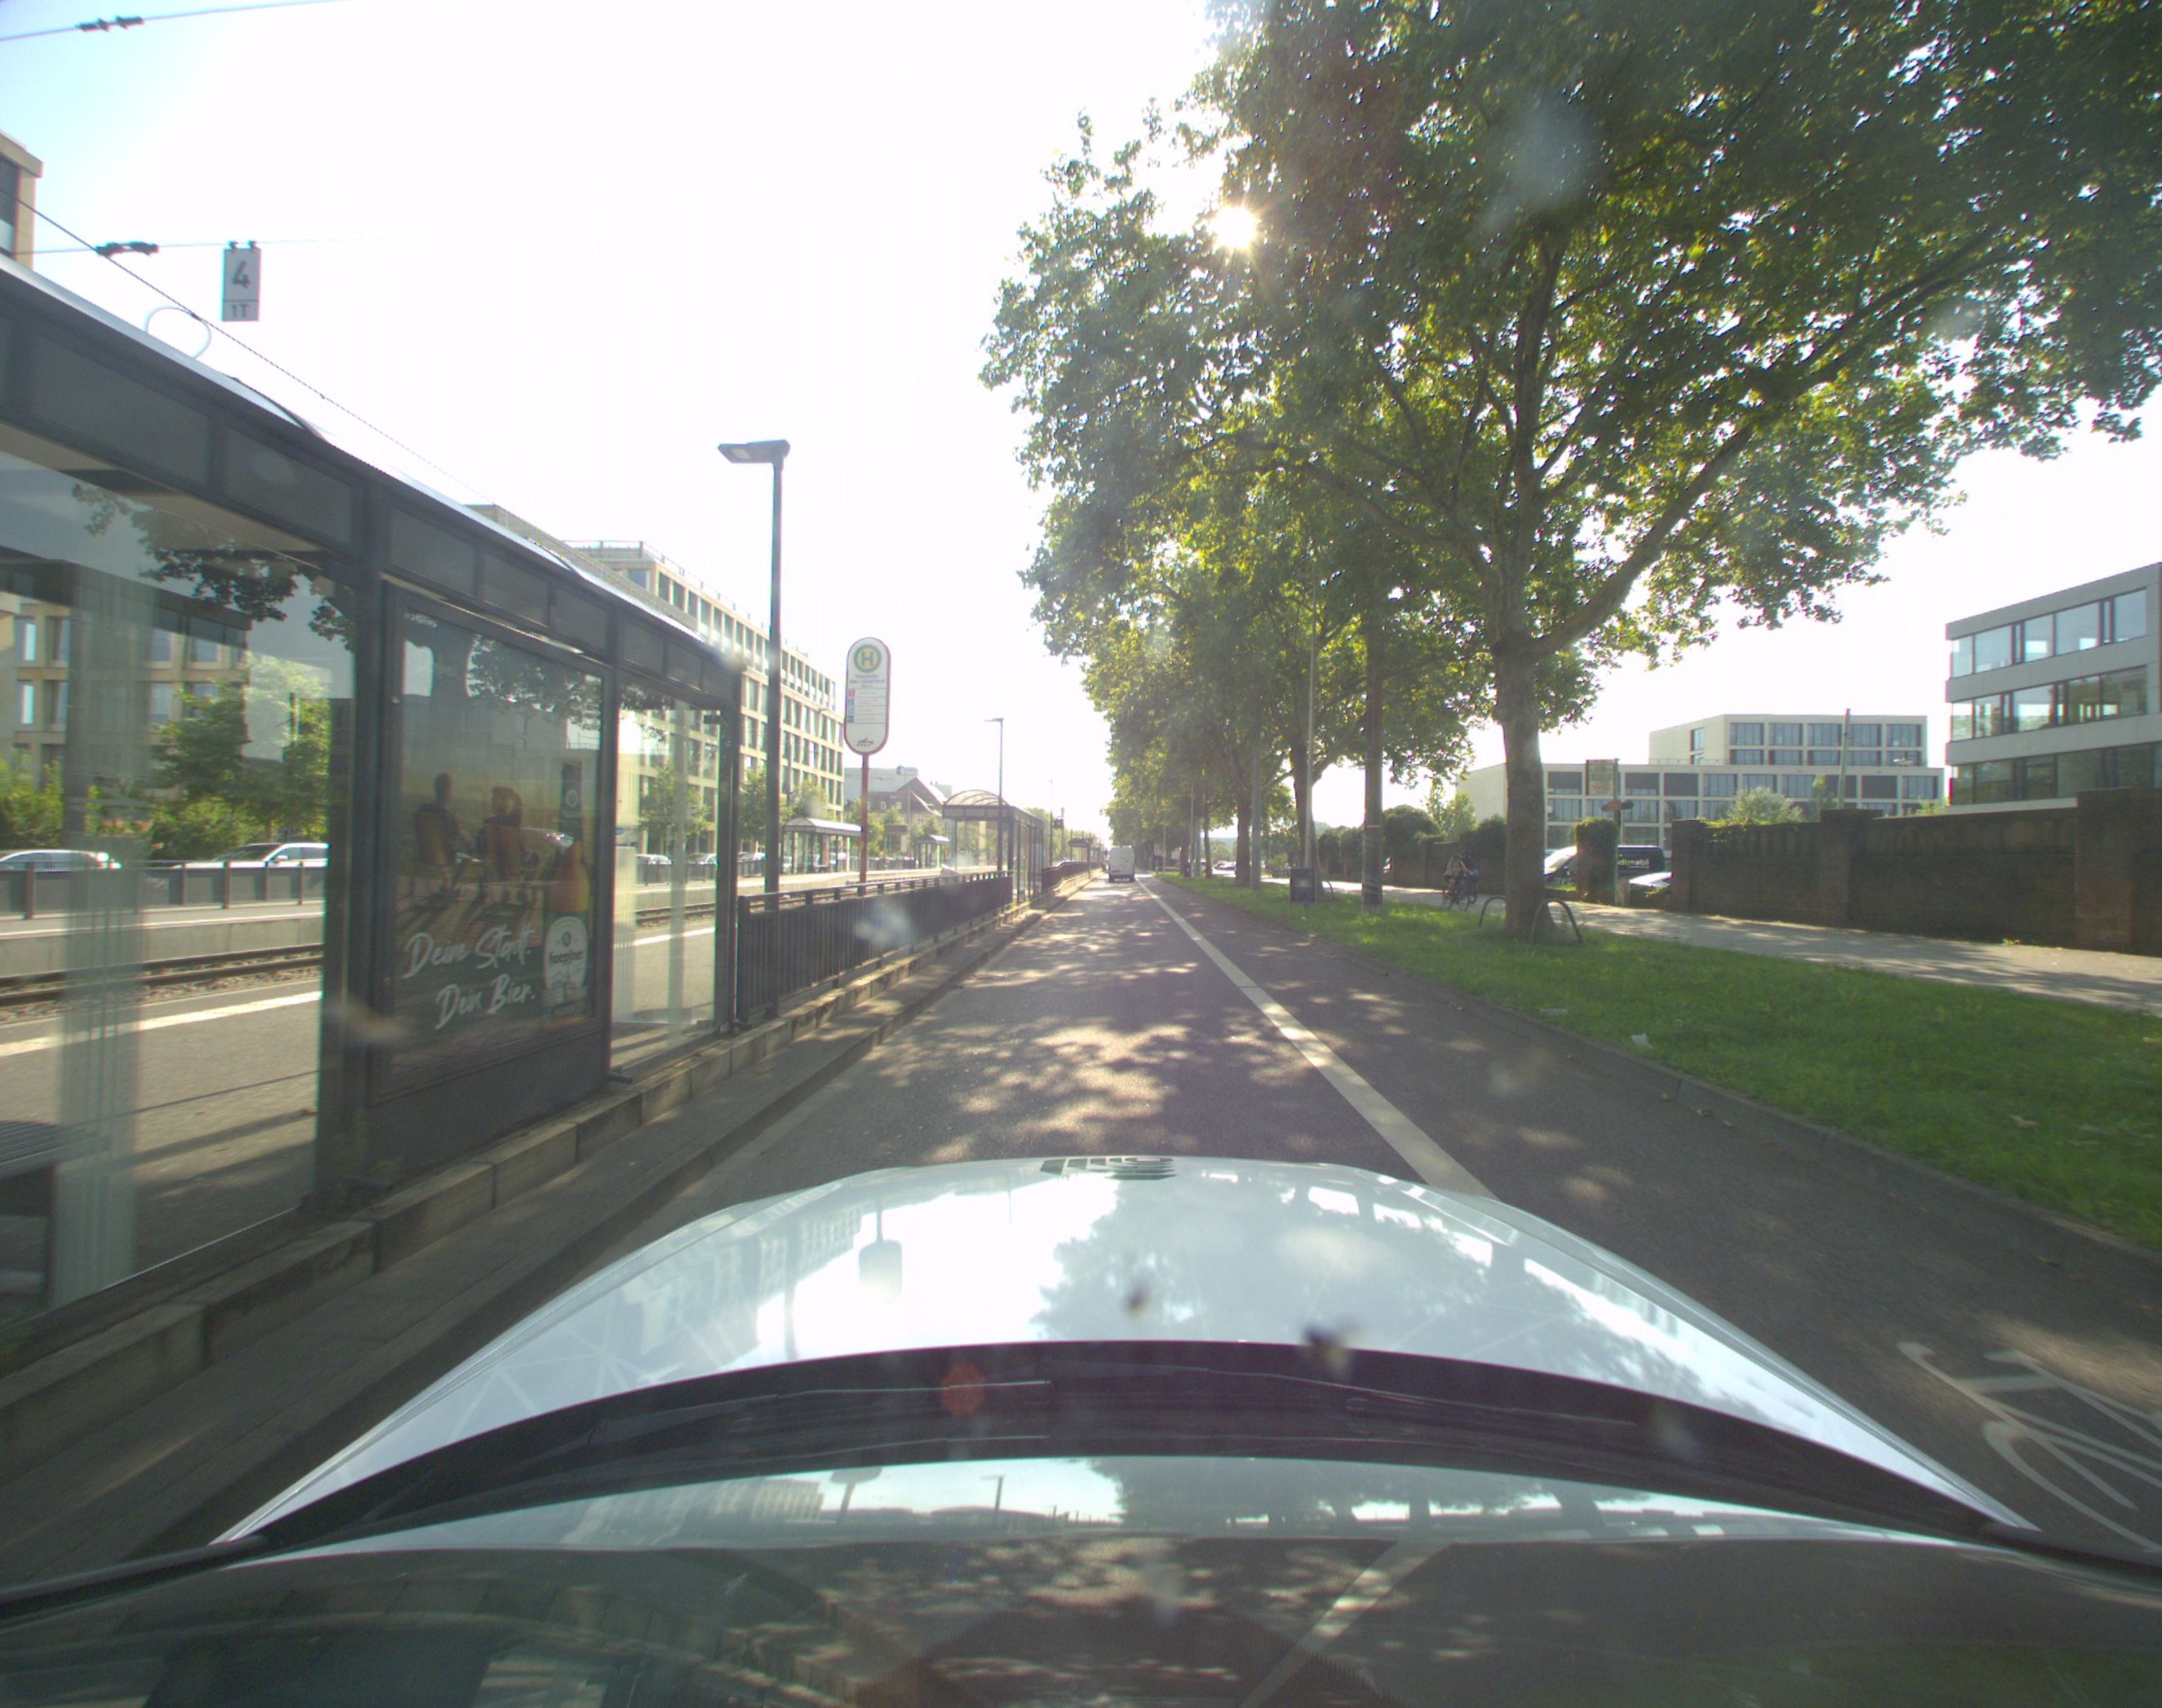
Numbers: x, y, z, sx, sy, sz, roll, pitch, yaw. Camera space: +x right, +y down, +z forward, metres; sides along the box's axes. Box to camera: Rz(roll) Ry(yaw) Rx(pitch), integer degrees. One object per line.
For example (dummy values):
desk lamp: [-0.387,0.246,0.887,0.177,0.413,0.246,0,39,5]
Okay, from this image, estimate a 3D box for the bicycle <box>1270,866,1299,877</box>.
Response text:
bicycle: [16.018,1.371,64.239,2.171,0.847,0.503,0,0,2]

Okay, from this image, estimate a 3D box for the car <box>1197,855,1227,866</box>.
car: [18.826,0.988,117.306,3.971,1.376,2.001,2,-1,2]

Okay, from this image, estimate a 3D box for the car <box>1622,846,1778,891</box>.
car: [20.158,0.468,26.607,3.974,1.403,1.503,0,0,0]

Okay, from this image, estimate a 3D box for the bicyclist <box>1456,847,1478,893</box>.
bicyclist: [13.126,0.525,27.686,0.467,1.539,0.596,1,0,-1]

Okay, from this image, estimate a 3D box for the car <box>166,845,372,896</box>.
car: [-24.037,0.458,24.382,1.677,1.407,4.372,0,0,2]

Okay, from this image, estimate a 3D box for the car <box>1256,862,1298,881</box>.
car: [20.729,1.861,86.254,3.971,1.882,2.001,2,-1,2]

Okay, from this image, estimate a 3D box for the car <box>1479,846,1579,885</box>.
car: [21.489,0.529,39.164,3.989,1.843,1.561,0,0,0]

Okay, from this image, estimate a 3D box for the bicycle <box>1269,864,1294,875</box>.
bicycle: [16.426,1.266,66.799,1.924,0.847,0.372,0,-1,2]

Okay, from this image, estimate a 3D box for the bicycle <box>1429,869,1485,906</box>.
bicycle: [11.030,0.970,23.952,0.679,1.005,2.218,0,0,2]

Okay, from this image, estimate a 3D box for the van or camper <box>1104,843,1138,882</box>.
van or camper: [2.963,0.628,61.580,2.109,2.682,5.247,-3,0,-1]

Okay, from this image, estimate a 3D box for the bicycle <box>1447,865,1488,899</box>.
bicycle: [13.120,0.944,27.682,0.489,1.089,1.857,1,0,0]

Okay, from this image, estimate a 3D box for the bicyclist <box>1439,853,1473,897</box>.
bicyclist: [11.034,0.601,23.993,0.667,1.276,0.728,0,0,1]

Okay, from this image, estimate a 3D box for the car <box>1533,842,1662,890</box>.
car: [20.794,0.483,32.905,4.259,1.893,1.561,0,0,0]
